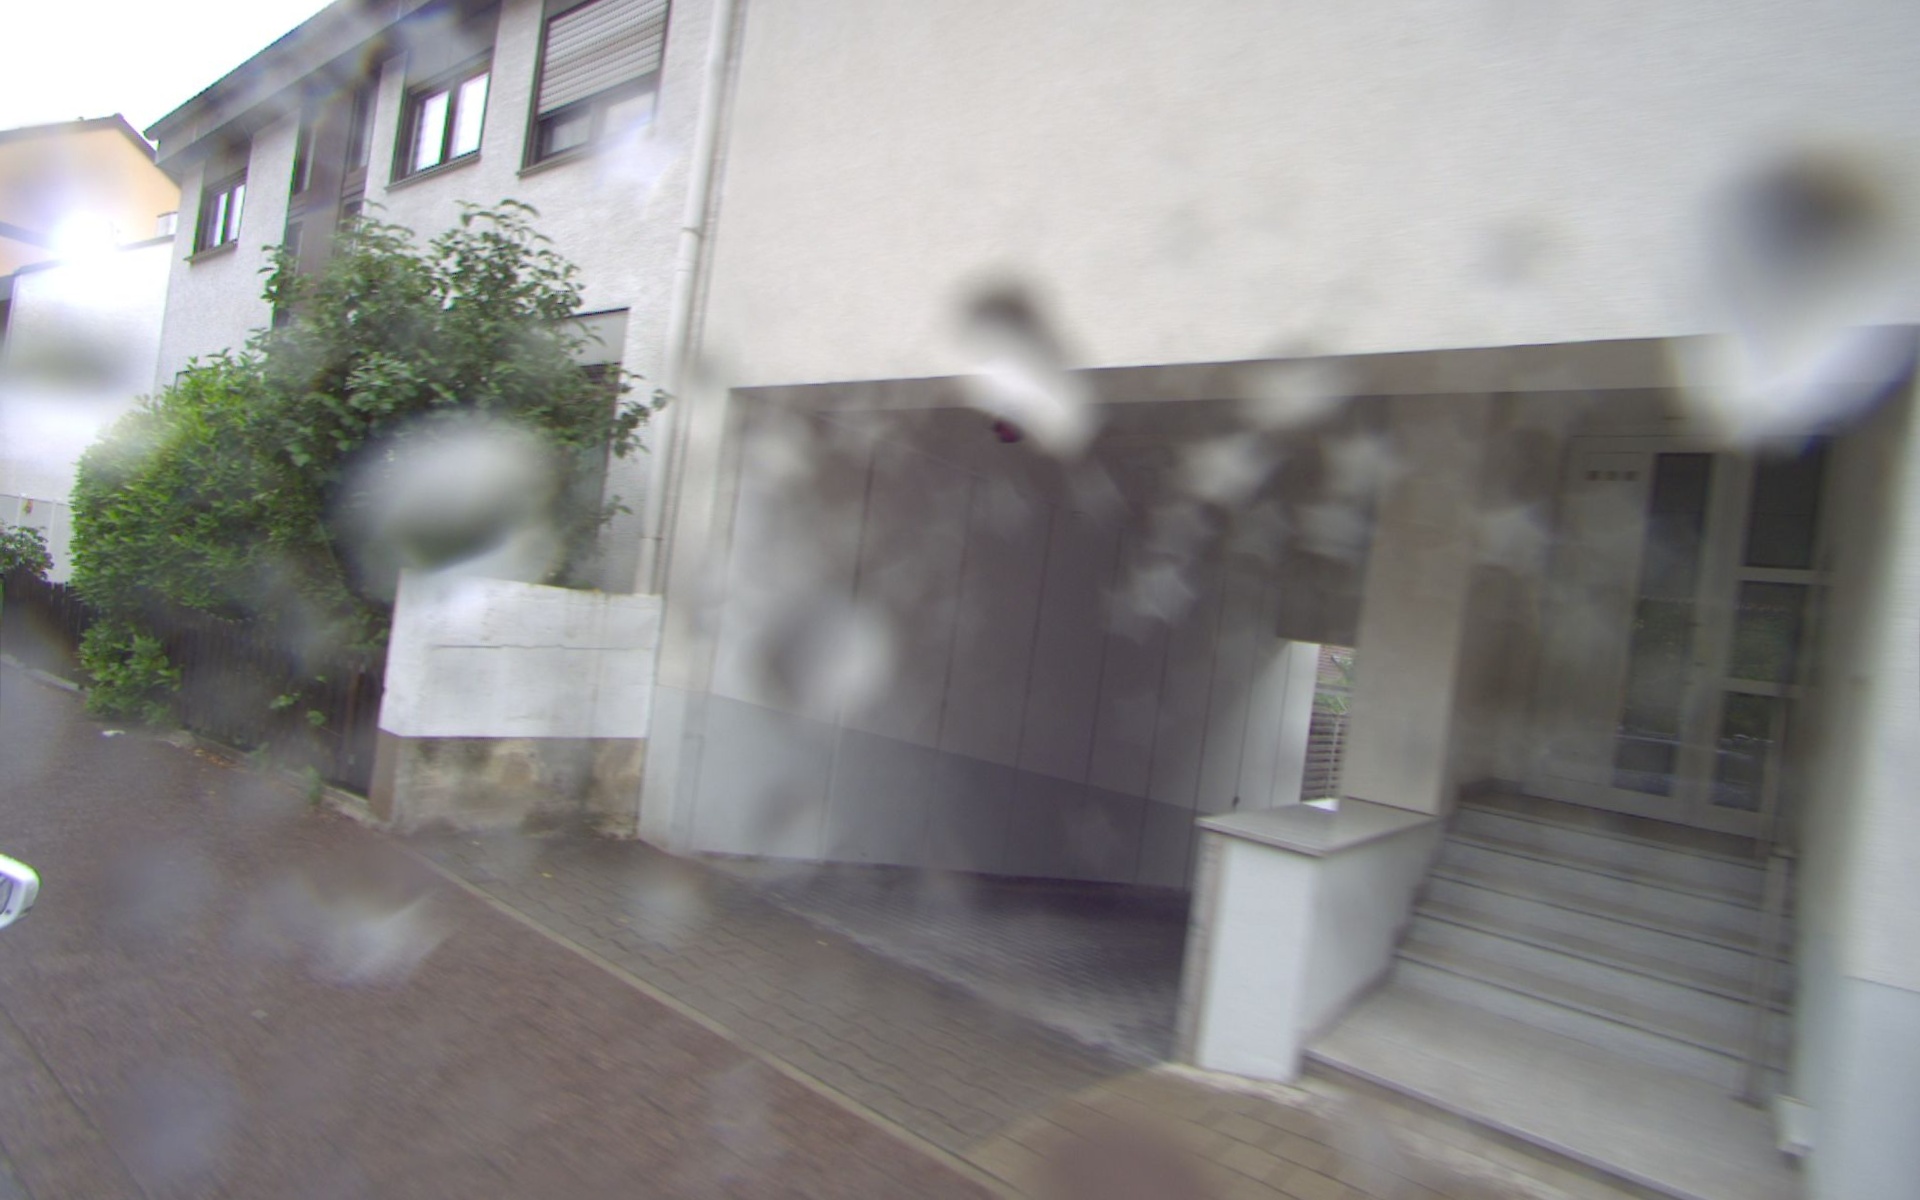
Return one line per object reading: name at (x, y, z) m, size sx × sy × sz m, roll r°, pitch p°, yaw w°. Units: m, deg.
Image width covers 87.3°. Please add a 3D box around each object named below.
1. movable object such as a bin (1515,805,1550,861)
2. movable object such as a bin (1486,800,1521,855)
movable object such as a bin at (12.818, 5.204, 22.511) m, size 0.524 × 1.128 × 0.487 m, roll 6°, pitch -5°, yaw 37°
movable object such as a bin at (12.352, 5.154, 22.855) m, size 0.524 × 1.128 × 0.487 m, roll 6°, pitch -5°, yaw 37°
